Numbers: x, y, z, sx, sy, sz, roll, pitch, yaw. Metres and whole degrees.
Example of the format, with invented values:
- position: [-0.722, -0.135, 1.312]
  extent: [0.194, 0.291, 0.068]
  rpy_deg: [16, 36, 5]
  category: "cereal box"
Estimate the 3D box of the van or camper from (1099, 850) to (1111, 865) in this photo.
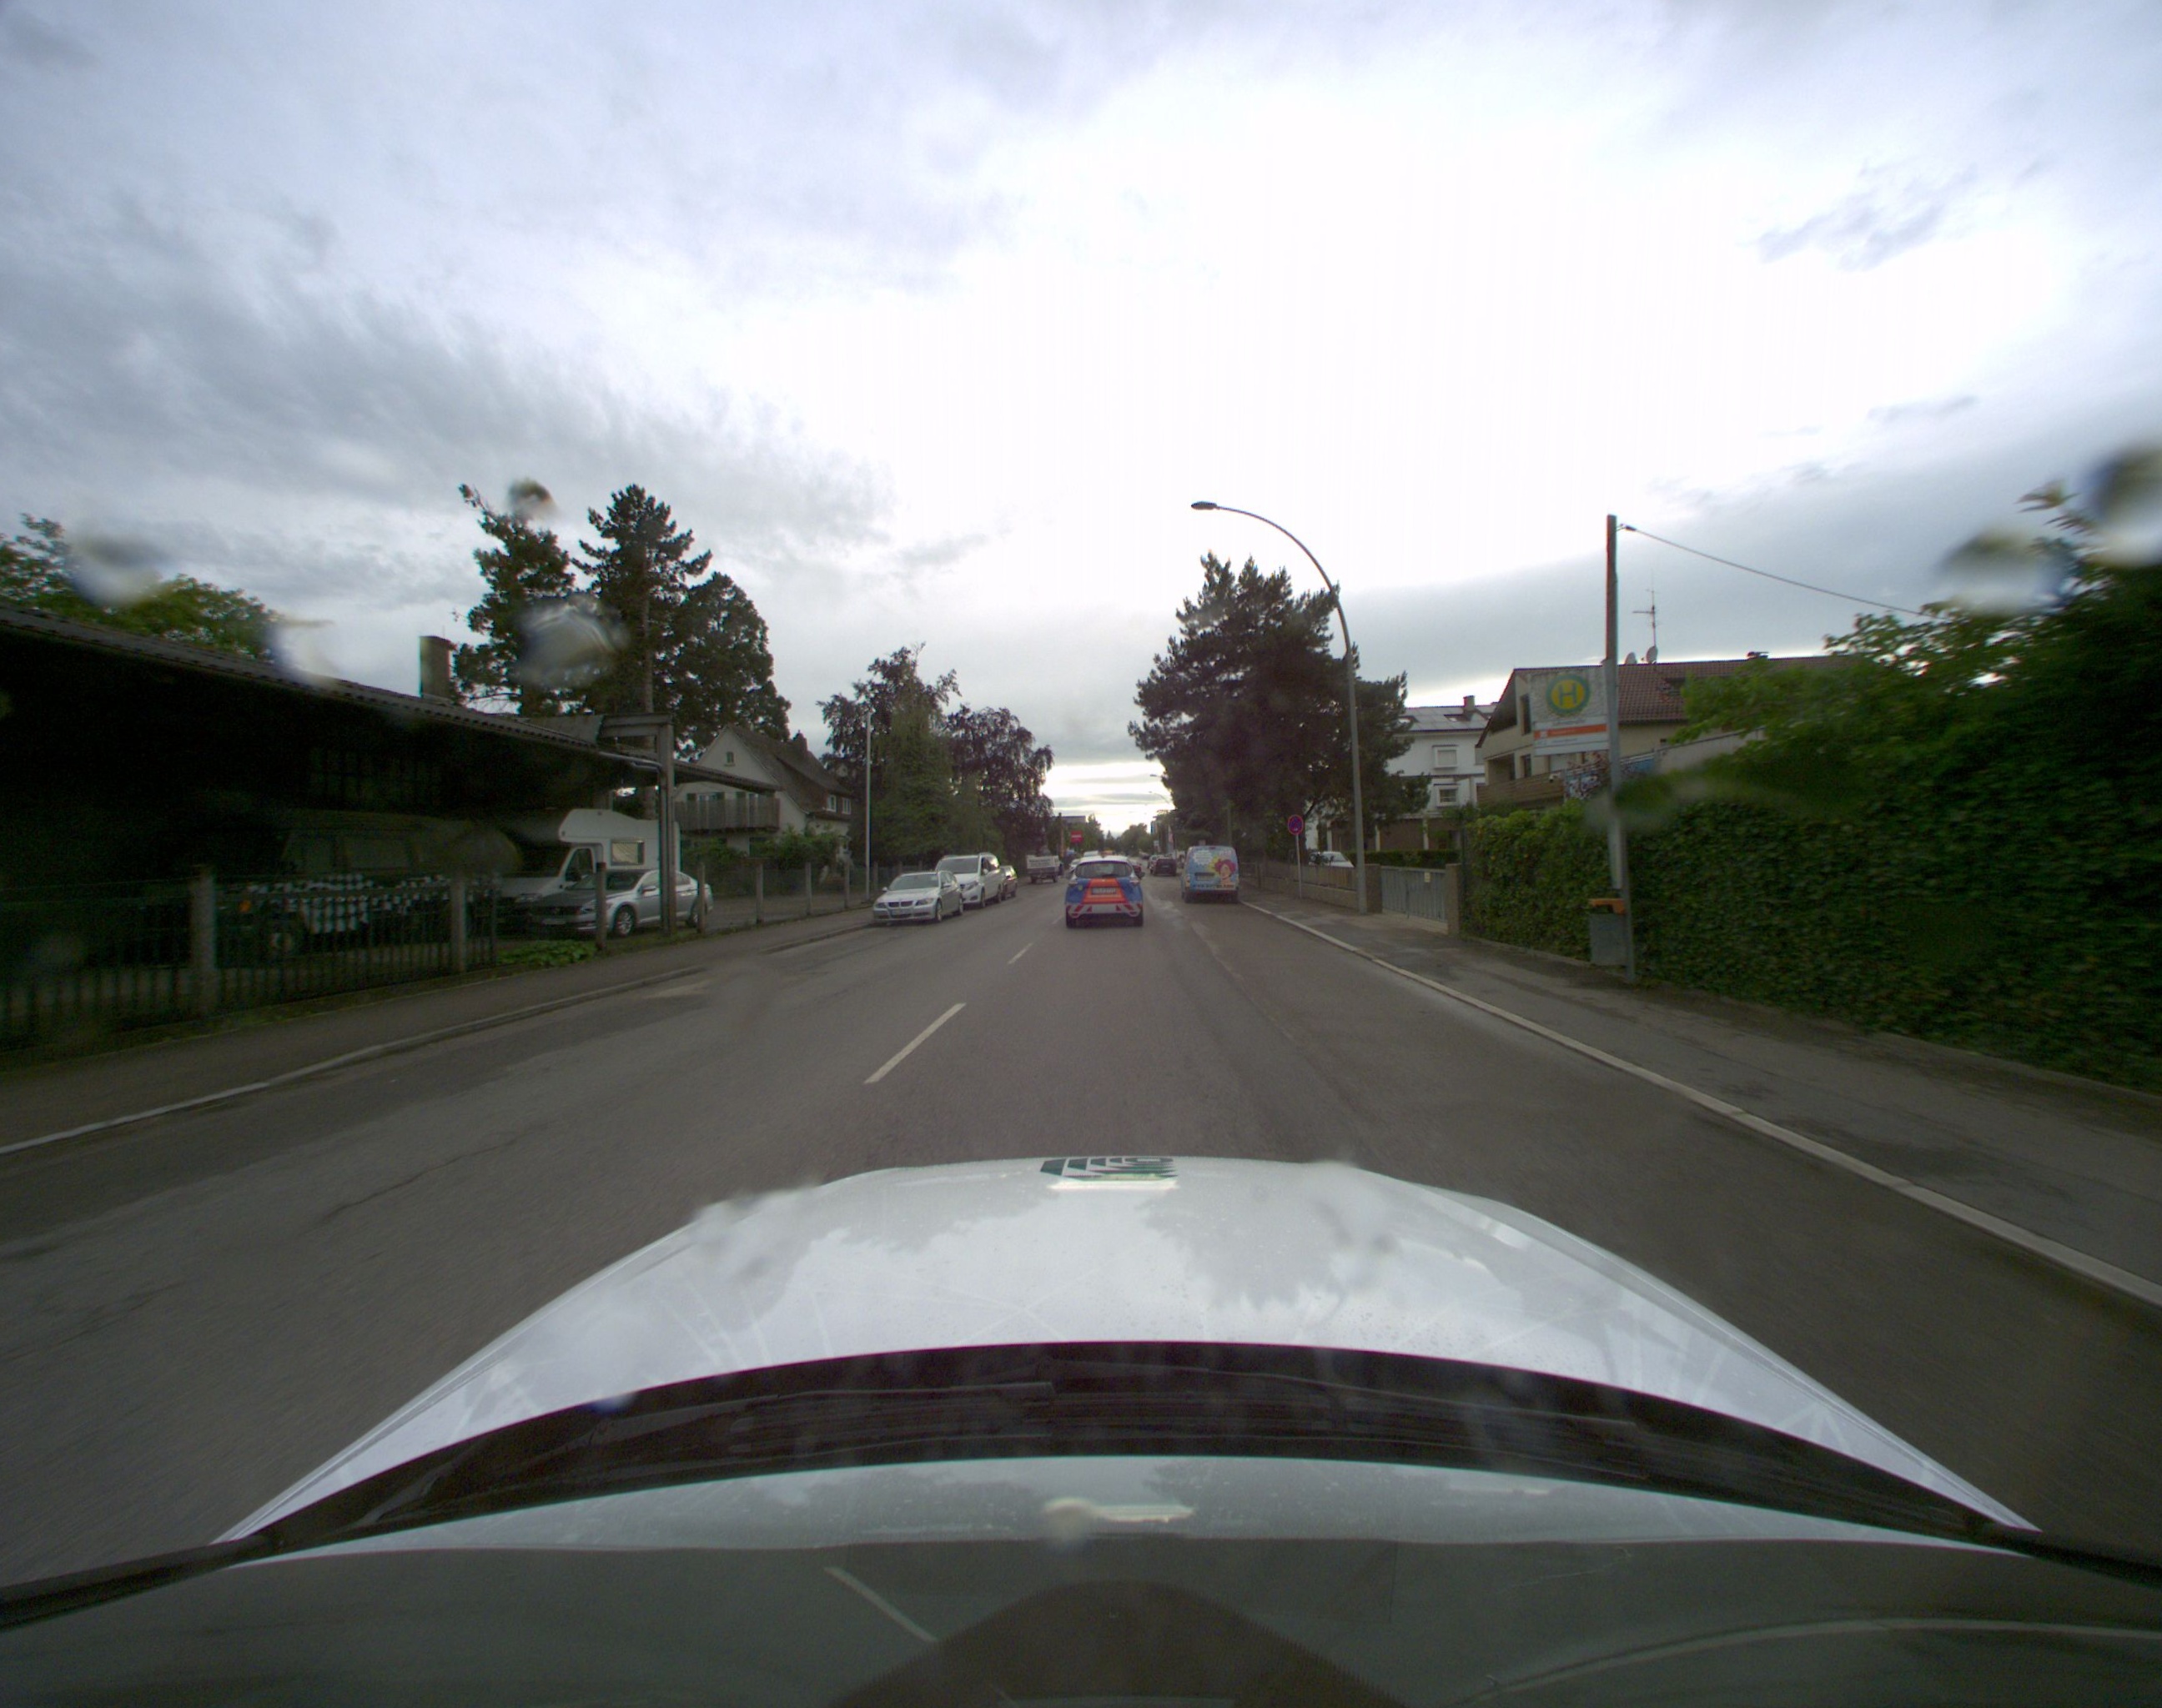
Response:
- position: [4.485, 0.640, 151.602]
  extent: [1.986, 2.775, 5.443]
  rpy_deg: [-2, 0, 2]
  category: "van or camper"

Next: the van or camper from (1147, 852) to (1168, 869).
- position: [8.404, 0.746, 89.778]
  extent: [1.986, 1.784, 4.002]
  rpy_deg: [-2, 0, 2]
  category: "van or camper"

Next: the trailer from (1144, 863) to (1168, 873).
- position: [6.399, 1.228, 69.855]
  extent: [1.931, 0.754, 2.861]
  rpy_deg: [-2, 0, 2]
  category: "trailer"

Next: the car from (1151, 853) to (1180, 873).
- position: [6.724, 0.691, 65.114]
  extent: [1.986, 1.536, 4.002]
  rpy_deg: [-2, 0, 2]
  category: "car"

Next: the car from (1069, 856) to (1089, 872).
- position: [-0.222, 1.136, 87.577]
  extent: [1.986, 1.596, 4.001]
  rpy_deg: [1, -2, 2]
  category: "car"

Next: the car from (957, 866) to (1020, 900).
- position: [-3.923, 1.202, 35.181]
  extent: [1.985, 1.288, 4.004]
  rpy_deg: [-2, 0, 4]
  category: "car"

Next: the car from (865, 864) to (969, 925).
- position: [-4.525, 1.140, 23.074]
  extent: [1.734, 1.480, 4.187]
  rpy_deg: [-3, -3, 4]
  category: "car"

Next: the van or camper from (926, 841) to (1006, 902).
- position: [-4.056, 0.681, 29.548]
  extent: [1.882, 2.014, 5.100]
  rpy_deg: [1, -2, 3]
  category: "van or camper"

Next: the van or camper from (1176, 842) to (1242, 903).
- position: [4.306, 0.599, 27.860]
  extent: [1.747, 1.883, 4.002]
  rpy_deg: [-2, 0, 2]
  category: "van or camper"

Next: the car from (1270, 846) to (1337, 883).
- position: [9.536, 0.509, 35.199]
  extent: [1.985, 1.486, 4.002]
  rpy_deg: [1, -2, 3]
  category: "car"

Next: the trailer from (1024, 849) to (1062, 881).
- position: [-2.532, 0.791, 55.773]
  extent: [2.212, 2.014, 4.437]
  rpy_deg: [1, -2, 2]
  category: "trailer"

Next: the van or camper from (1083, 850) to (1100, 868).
- position: [1.451, 0.723, 112.938]
  extent: [2.152, 2.353, 4.336]
  rpy_deg: [-2, 0, 2]
  category: "van or camper"

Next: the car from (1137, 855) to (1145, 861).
- position: [14.879, 0.971, 202.631]
  extent: [1.986, 1.585, 4.002]
  rpy_deg: [-2, 0, 2]
  category: "car"

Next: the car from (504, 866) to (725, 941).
- position: [-10.087, 1.007, 18.174]
  extent: [1.928, 1.444, 4.786]
  rpy_deg: [-1, -1, 4]
  category: "car"

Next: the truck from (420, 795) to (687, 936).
- position: [-12.559, 0.304, 20.138]
  extent: [2.384, 2.927, 5.962]
  rpy_deg: [1, -1, 3]
  category: "truck"

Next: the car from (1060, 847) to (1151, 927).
- position: [0.565, 0.711, 19.214]
  extent: [1.882, 1.632, 4.001]
  rpy_deg: [-2, 0, 1]
  category: "car"

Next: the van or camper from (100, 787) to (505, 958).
- position: [-13.133, 0.370, 14.430]
  extent: [1.852, 2.438, 5.235]
  rpy_deg: [1, -2, 2]
  category: "van or camper"
